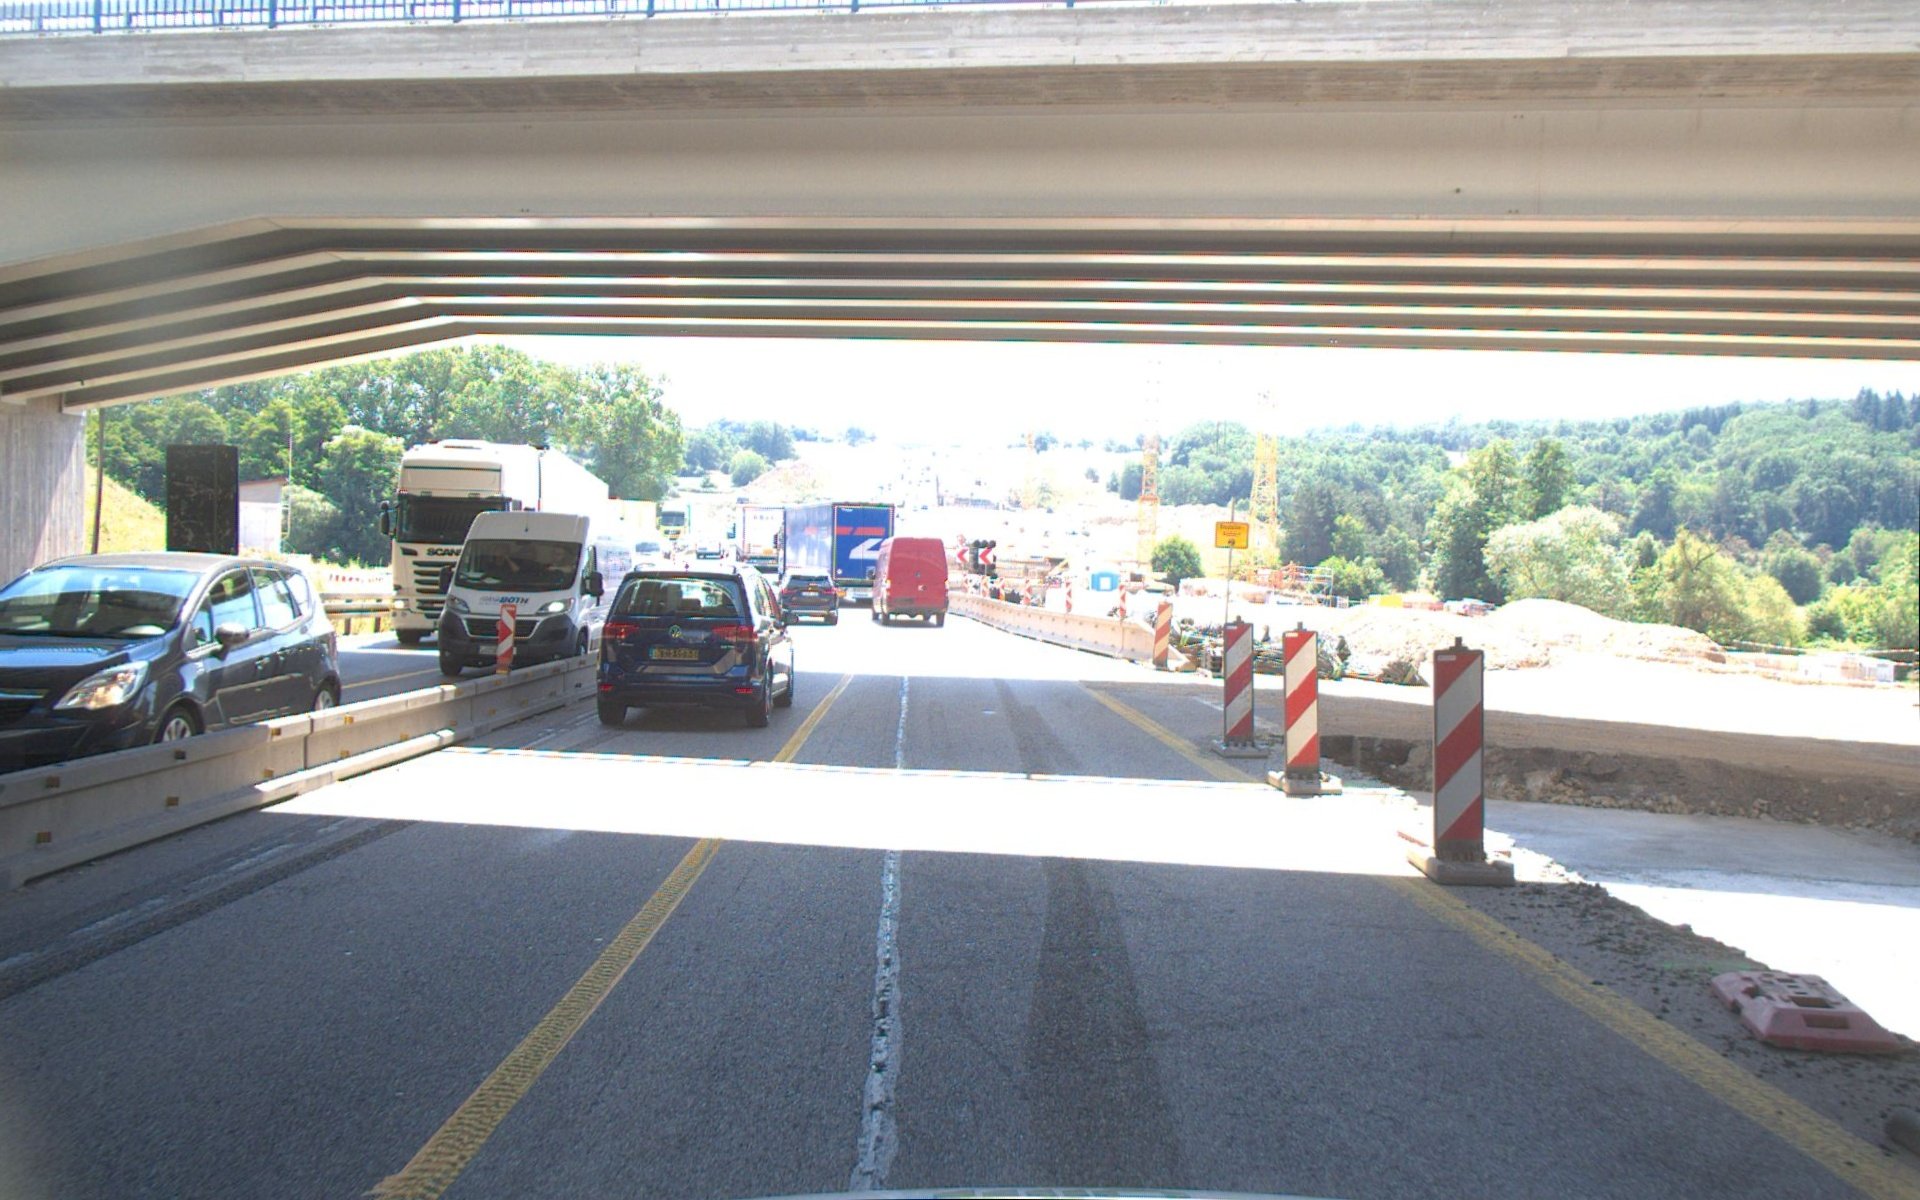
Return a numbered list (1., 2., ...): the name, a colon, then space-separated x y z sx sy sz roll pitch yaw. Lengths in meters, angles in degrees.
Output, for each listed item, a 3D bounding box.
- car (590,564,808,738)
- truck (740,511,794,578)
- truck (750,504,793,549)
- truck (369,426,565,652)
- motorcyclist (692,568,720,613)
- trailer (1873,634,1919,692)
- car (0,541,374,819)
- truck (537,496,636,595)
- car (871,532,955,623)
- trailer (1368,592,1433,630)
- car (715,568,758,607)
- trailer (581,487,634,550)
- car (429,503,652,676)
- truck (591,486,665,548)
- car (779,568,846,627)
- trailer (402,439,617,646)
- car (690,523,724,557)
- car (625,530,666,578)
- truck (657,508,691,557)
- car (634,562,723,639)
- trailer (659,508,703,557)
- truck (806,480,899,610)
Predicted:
1. car: -2.759 0.453 18.376 1.698 1.664 4.390 1 1 0
2. truck: -12.292 -3.567 104.909 3.123 4.058 6.729 1 3 -9
3. truck: -16.770 -6.434 146.463 3.160 3.419 8.918 1 -1 -10
4. truck: -9.901 -1.186 33.735 2.818 4.121 4.879 3 1 -6
5. motorcyclist: -8.244 -0.305 53.722 0.794 1.441 0.742 1 -1 -3
6. trailer: 22.704 1.400 35.928 4.617 1.241 2.055 1 -1 -1
7. car: -5.807 0.456 11.868 1.713 1.638 4.141 1 0 0
8. truck: -15.040 -2.141 66.058 2.776 3.637 8.449 1 1 -20
9. car: -1.535 -0.624 51.615 2.109 2.657 5.430 1 -1 -7
10. trailer: 19.516 0.455 73.394 1.592 1.512 3.823 2 1 -4
11. car: -10.477 -0.605 77.510 1.800 1.663 4.096 1 2 -10
12. trailer: -25.131 -5.785 118.142 2.808 4.302 5.217 1 2 -2
13. car: -6.402 -0.157 26.063 1.940 2.371 6.057 1 0 0
14. truck: -25.287 -6.277 126.824 2.750 4.417 15.375 2 2 -1
15. car: -4.430 -0.123 50.282 1.797 1.664 4.388 1 1 -3
16. trailer: -10.687 -1.298 40.969 2.822 4.110 14.338 3 1 -7
17. car: -18.824 -4.521 123.147 2.221 2.395 5.154 1 3 -7
18. car: -17.663 -2.539 92.730 2.035 2.547 6.463 1 0 -13
19. truck: -26.420 -6.260 152.984 2.574 4.344 4.728 2 2 -5
20. car: -6.610 -0.031 39.198 1.712 1.700 4.075 1 1 -5
21. trailer: -26.842 -6.498 159.735 2.595 4.366 13.303 2 2 -3
22. truck: -4.522 -2.312 68.243 2.893 5.030 6.724 1 3 -12
